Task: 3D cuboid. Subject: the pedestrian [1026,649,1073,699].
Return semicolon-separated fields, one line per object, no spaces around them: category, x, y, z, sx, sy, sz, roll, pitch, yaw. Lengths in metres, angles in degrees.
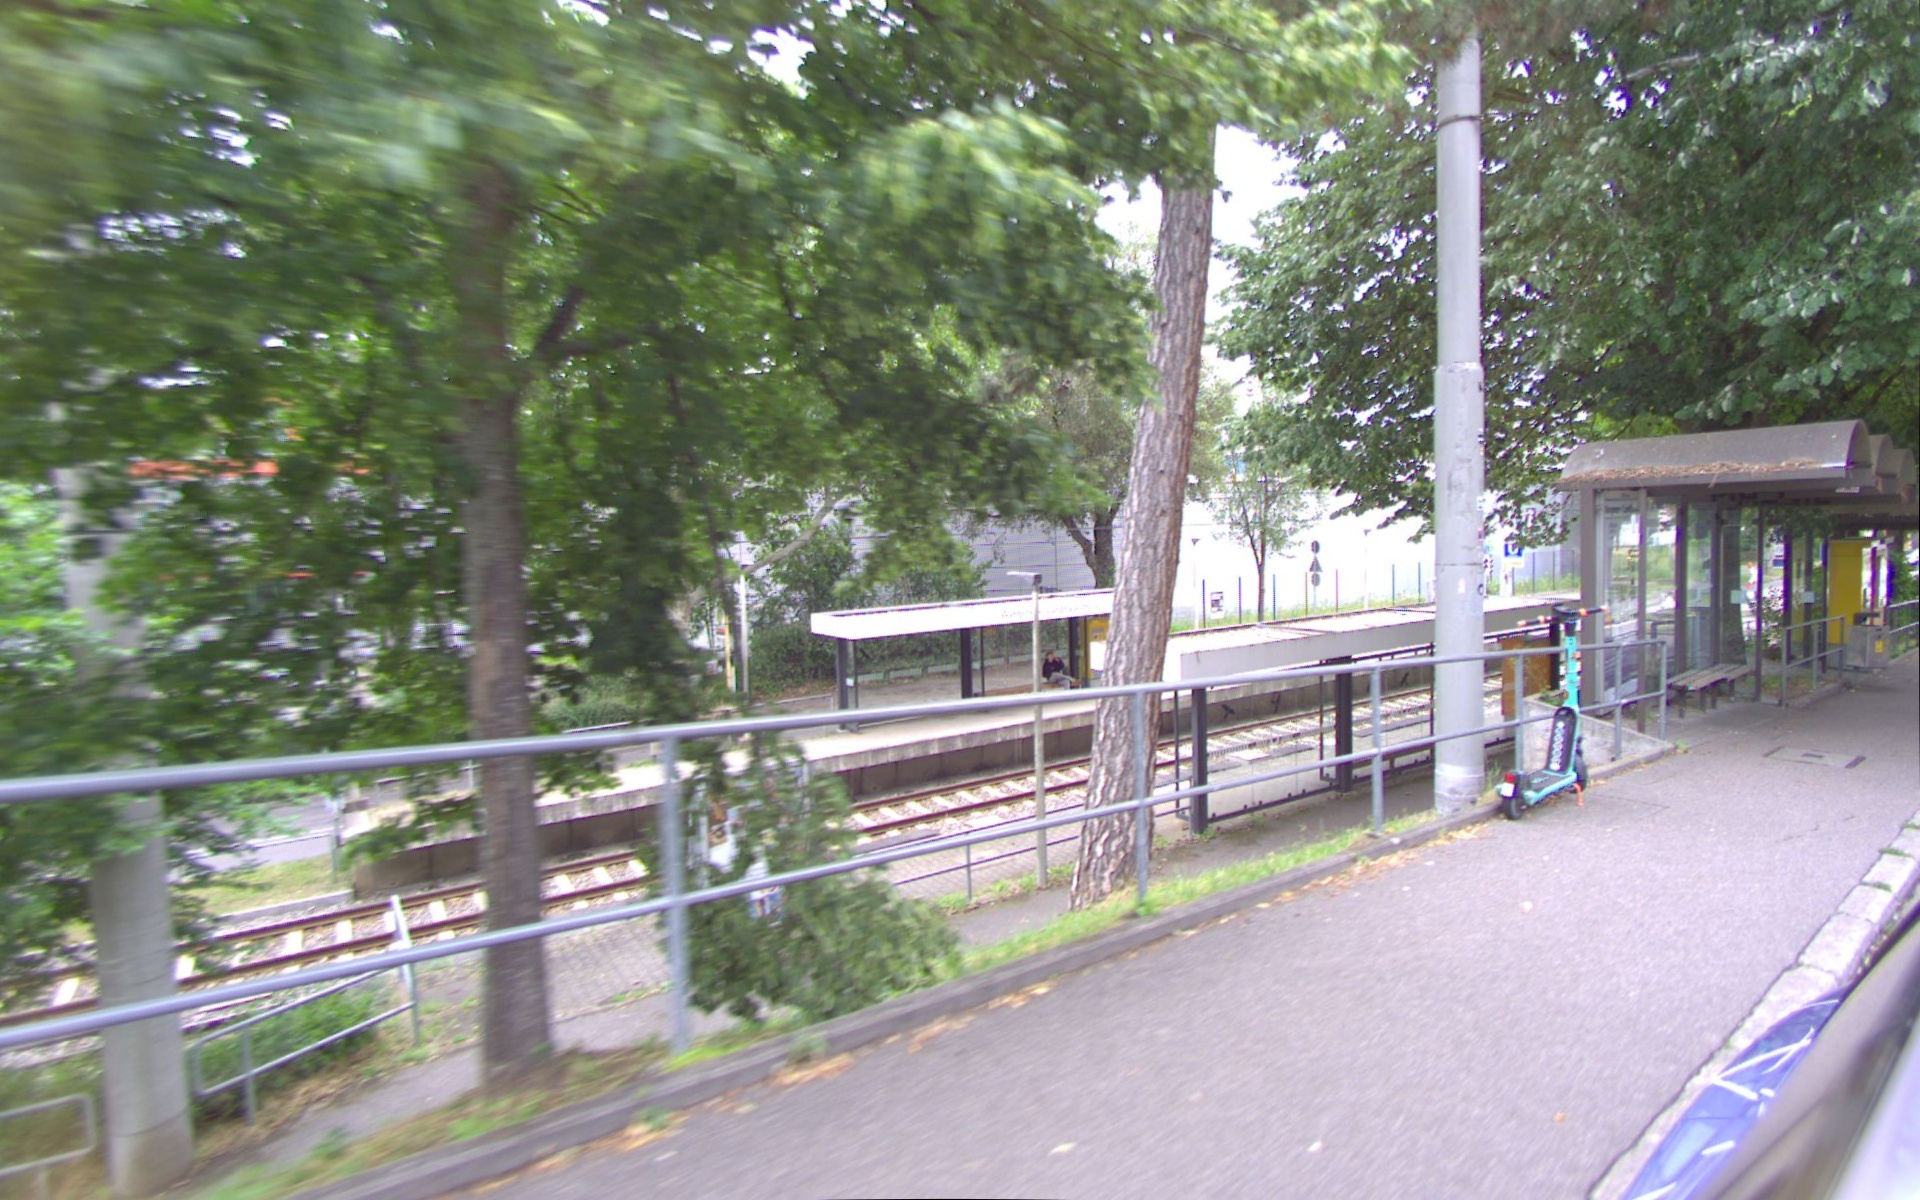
pedestrian;2.350;1.919;26.541;0.935;1.181;0.780;-2;2;-33

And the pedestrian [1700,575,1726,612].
pedestrian;35.223;-0.331;47.362;0.670;1.696;0.755;-2;2;-29

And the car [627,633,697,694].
car;-10.614;2.186;35.881;1.958;1.723;4.009;-2;2;-22

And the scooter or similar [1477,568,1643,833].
scooter or similar;3.625;0.525;6.077;1.430;1.401;0.430;-3;2;-41

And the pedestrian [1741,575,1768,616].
pedestrian;36.072;-0.229;45.956;0.670;1.826;0.755;-2;2;-29
